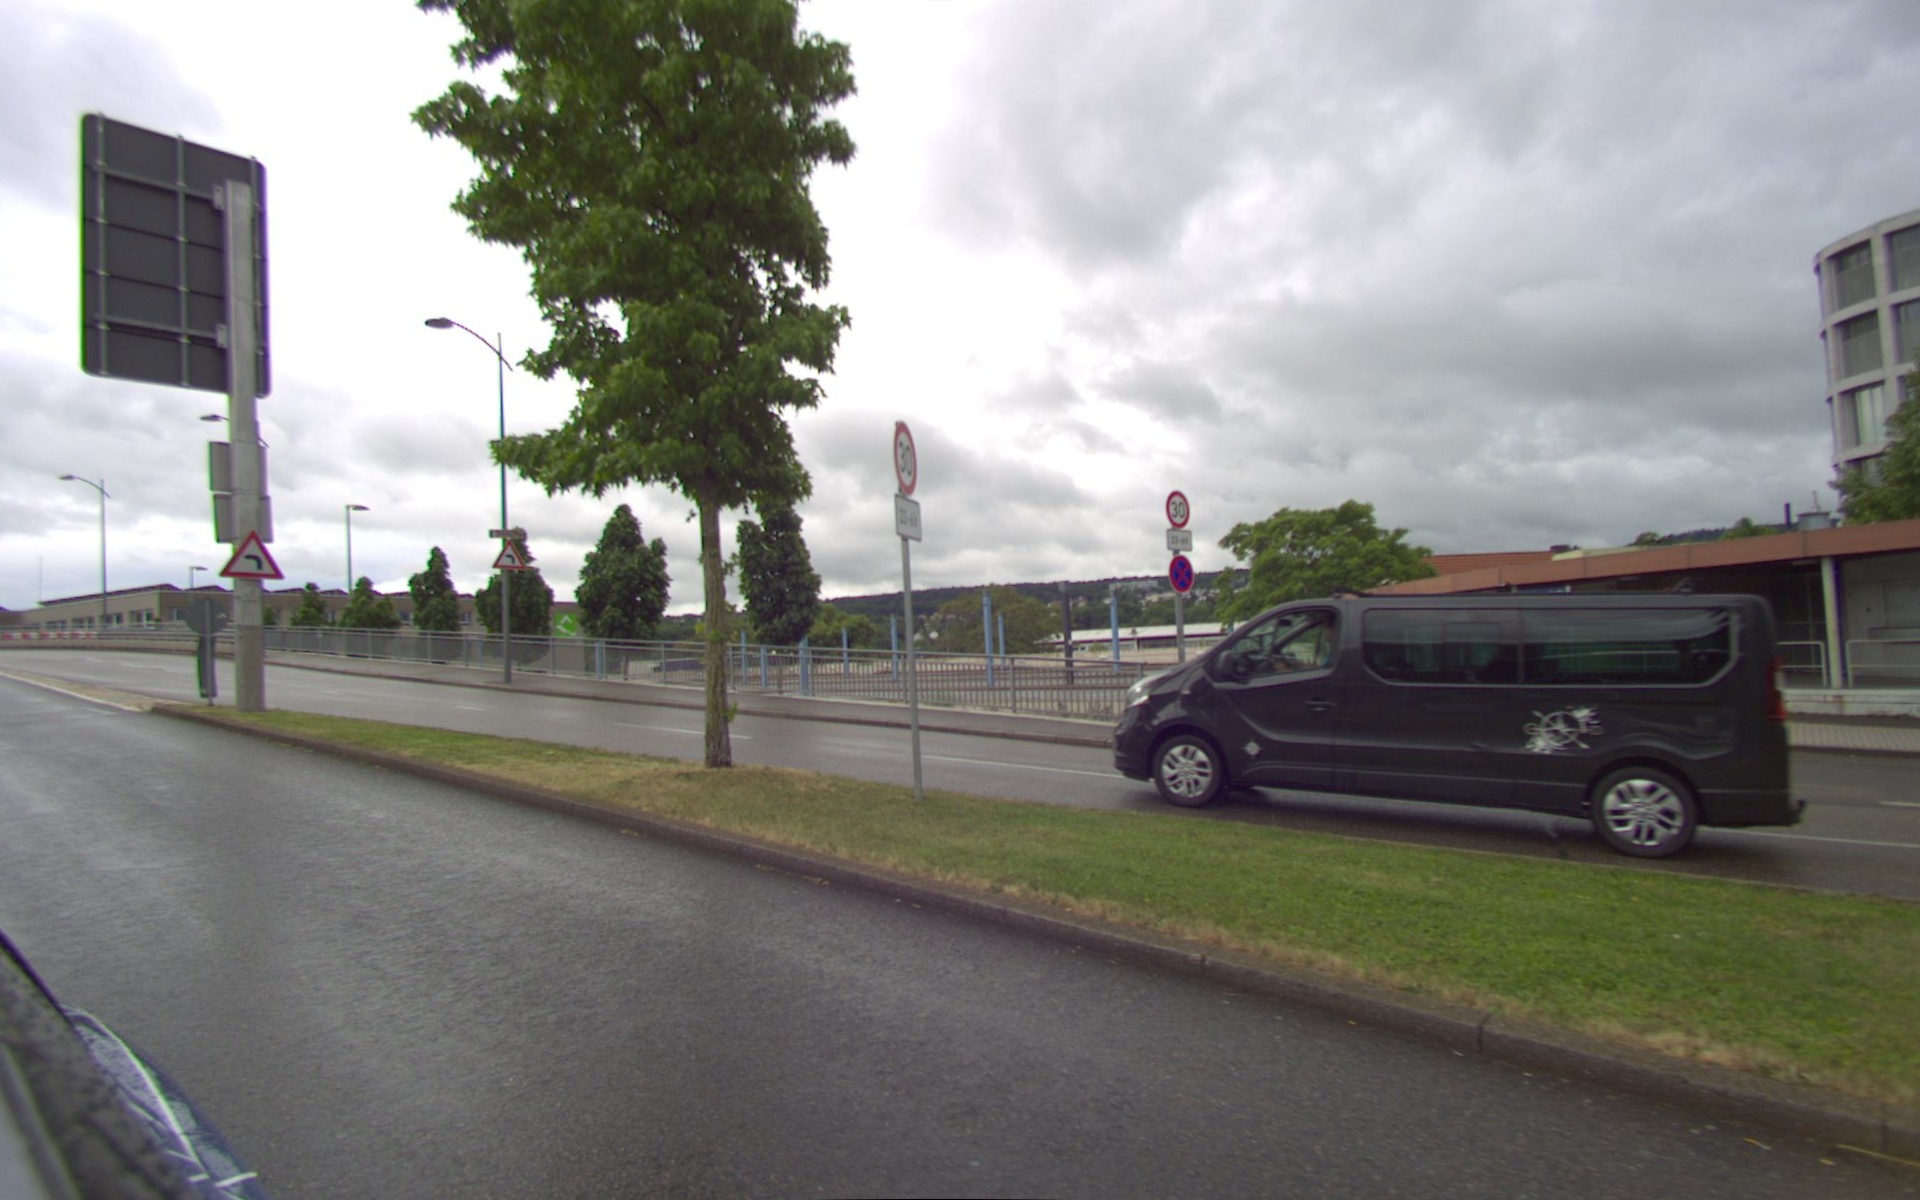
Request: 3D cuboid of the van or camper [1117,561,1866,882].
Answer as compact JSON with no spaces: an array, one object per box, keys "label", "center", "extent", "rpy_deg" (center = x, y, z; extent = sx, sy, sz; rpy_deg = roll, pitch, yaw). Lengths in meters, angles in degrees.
[{"label":"van or camper","center":[4.274,0.870,8.989],"extent":[5.268,2.088,2.199],"rpy_deg":[-1,-4,33]}]
